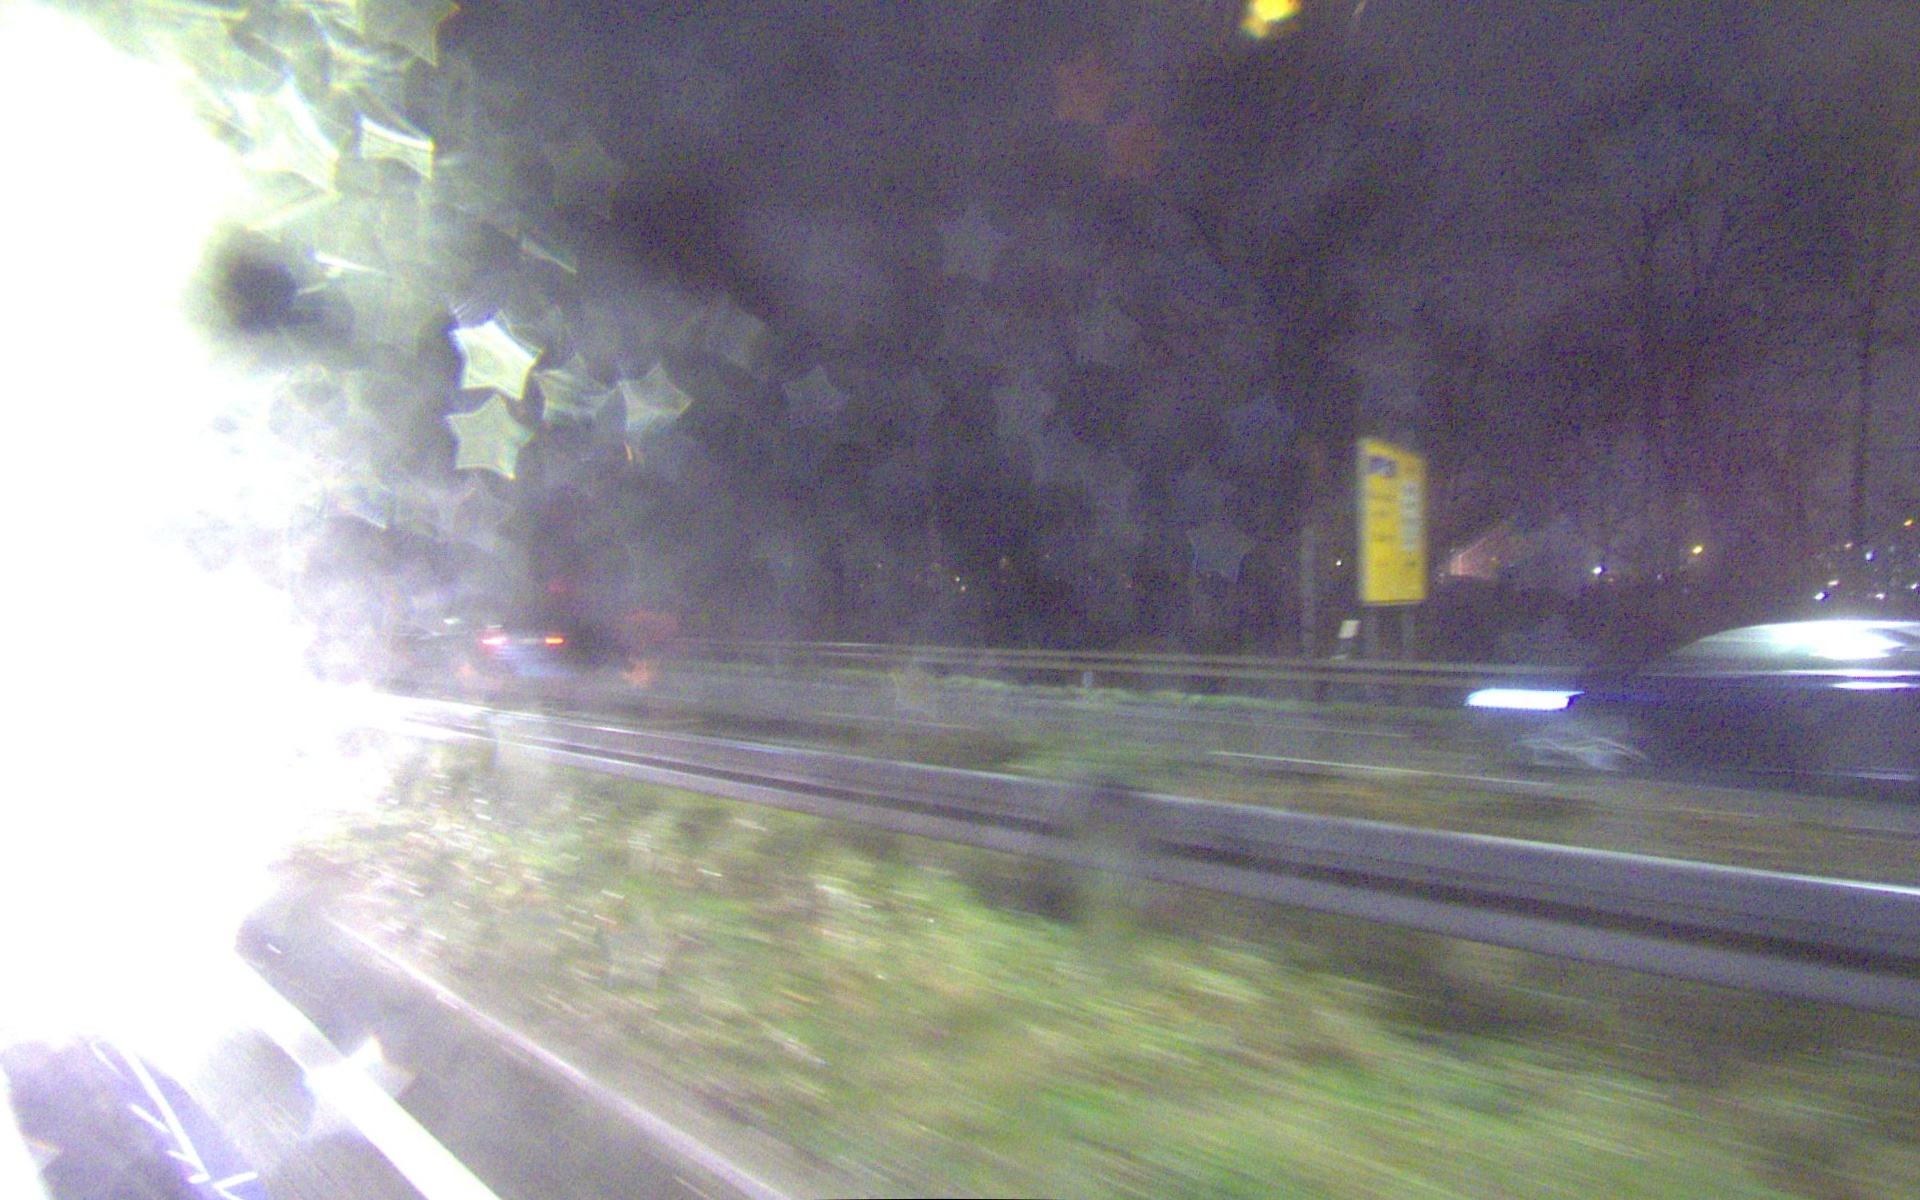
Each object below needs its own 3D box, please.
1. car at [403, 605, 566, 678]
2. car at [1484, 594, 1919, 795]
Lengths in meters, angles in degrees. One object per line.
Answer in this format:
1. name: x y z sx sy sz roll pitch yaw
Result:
1. car: -11.940 0.986 25.237 4.840 1.519 1.972 -2 2 43
2. car: 7.019 0.749 8.225 4.661 1.434 1.695 -2 -5 38
